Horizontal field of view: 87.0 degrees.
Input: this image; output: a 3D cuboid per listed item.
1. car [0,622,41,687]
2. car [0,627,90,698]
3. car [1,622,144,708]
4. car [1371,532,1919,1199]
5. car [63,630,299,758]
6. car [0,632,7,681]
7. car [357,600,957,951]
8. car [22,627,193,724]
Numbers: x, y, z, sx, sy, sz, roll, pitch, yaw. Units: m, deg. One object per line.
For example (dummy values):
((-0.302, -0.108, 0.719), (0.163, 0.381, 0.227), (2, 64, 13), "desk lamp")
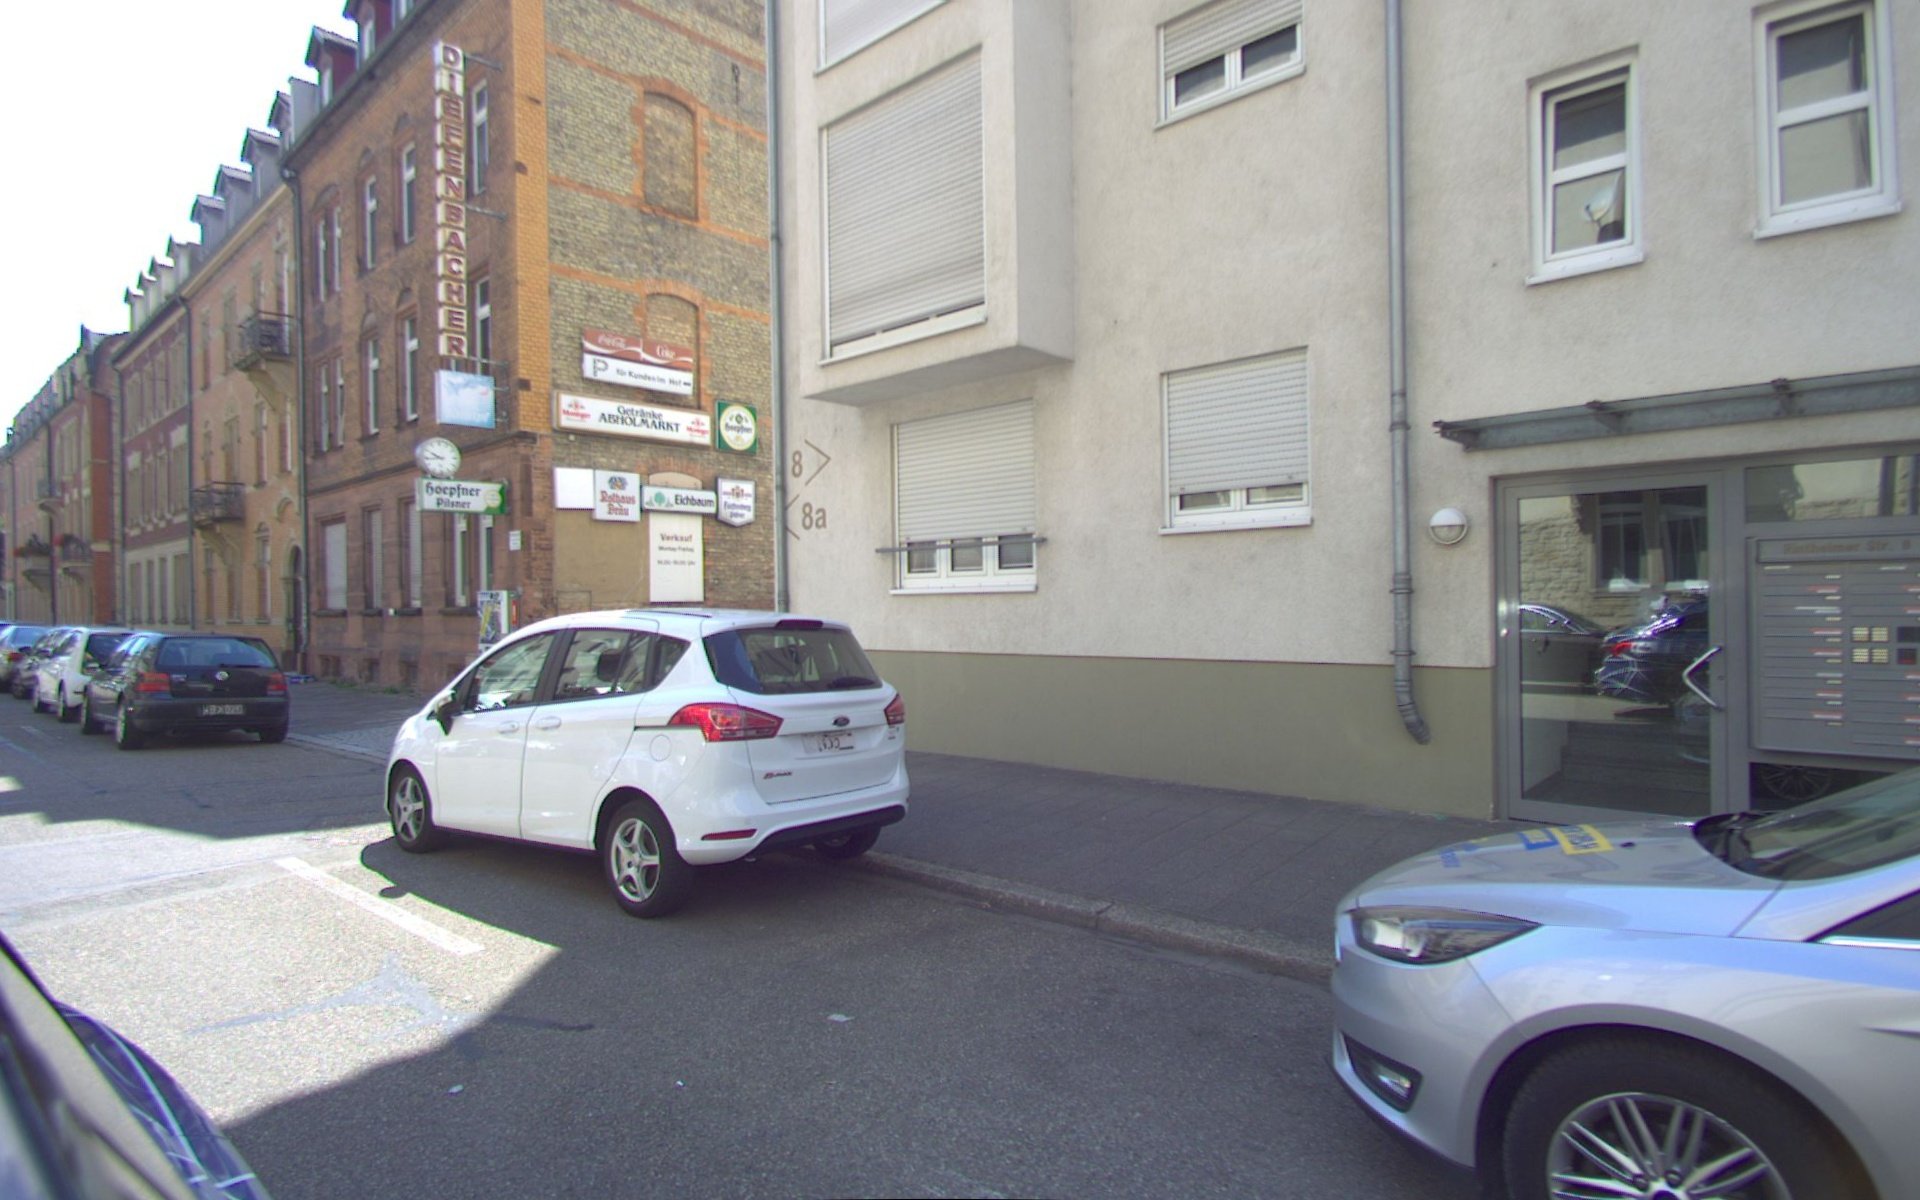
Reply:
((-25.786, 1.419, 26.905), (3.523, 1.655, 1.431), (-1, -4, 40), "car")
((-21.075, 1.372, 22.881), (3.522, 1.484, 1.432), (-1, -4, 39), "car")
((-17.704, 1.259, 20.144), (3.521, 1.555, 1.432), (-1, -4, 38), "car")
((3.182, 0.651, 1.674), (4.344, 1.506, 1.713), (-1, -3, 40), "car")
((-10.420, 1.162, 13.444), (3.835, 1.440, 1.758), (-1, -5, 42), "car")
((-29.577, 1.619, 30.055), (3.524, 1.410, 1.431), (-1, -5, 41), "car")
((-2.043, 0.855, 6.355), (3.847, 1.561, 1.613), (-1, -4, 37), "car")
((-14.180, 1.196, 16.775), (3.677, 1.440, 1.611), (-1, -5, 42), "car")
